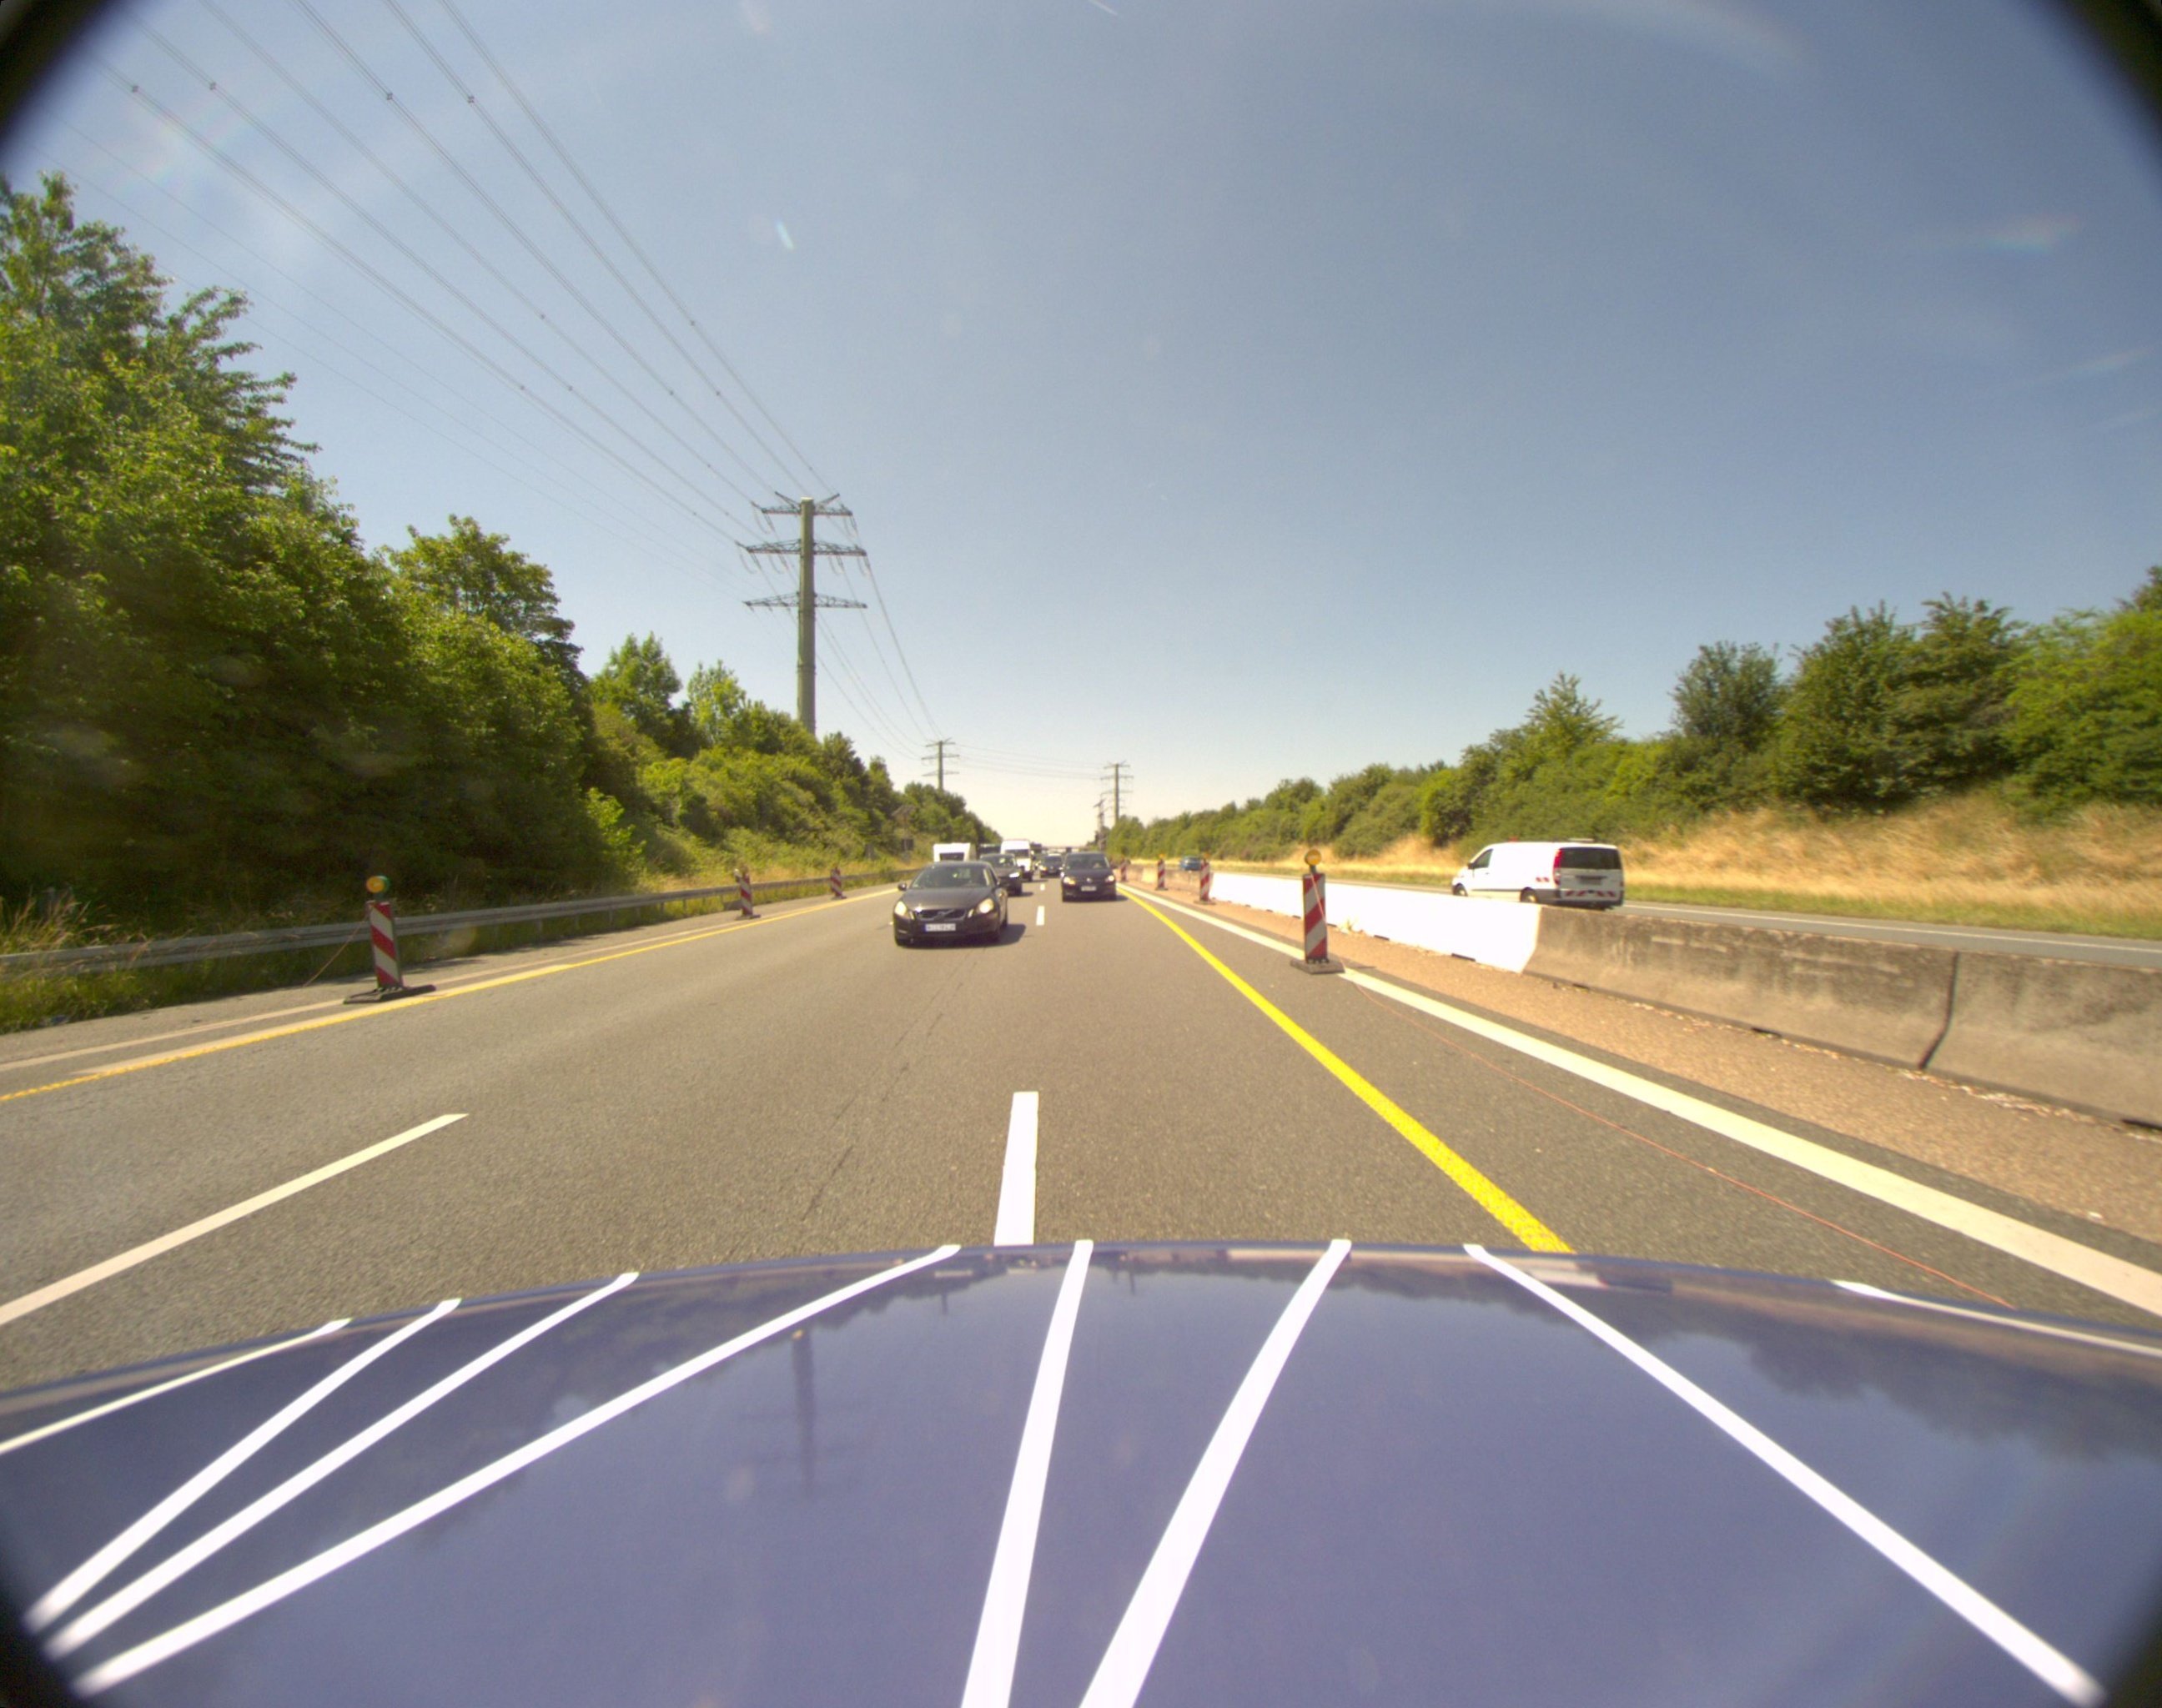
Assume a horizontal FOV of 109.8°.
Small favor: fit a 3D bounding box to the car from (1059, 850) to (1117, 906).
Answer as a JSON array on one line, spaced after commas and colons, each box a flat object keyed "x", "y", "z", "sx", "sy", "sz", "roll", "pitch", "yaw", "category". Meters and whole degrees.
[{"x": 0.227, "y": 0.715, "z": 25.679, "sx": 1.675, "sy": 1.619, "sz": 4.690, "roll": -3, "pitch": 0, "yaw": 0, "category": "car"}]

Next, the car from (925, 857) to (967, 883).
[{"x": -7.875, "y": 0.927, "z": 44.586, "sx": 1.801, "sy": 1.399, "sz": 4.209, "roll": -1, "pitch": 0, "yaw": -1, "category": "car"}]

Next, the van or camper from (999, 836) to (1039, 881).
[{"x": -3.686, "y": 0.231, "z": 46.395, "sx": 1.999, "sy": 2.604, "sz": 5.628, "roll": 0, "pitch": 0, "yaw": 0, "category": "van or camper"}]

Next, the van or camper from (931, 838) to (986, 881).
[{"x": -8.062, "y": 0.314, "z": 50.935, "sx": 2.432, "sy": 2.549, "sz": 8.415, "roll": -2, "pitch": 0, "yaw": -1, "category": "van or camper"}]

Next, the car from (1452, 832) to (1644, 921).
[{"x": 12.162, "y": 0.506, "z": 20.290, "sx": 1.968, "sy": 2.073, "sz": 4.937, "roll": 0, "pitch": 1, "yaw": -2, "category": "car"}]

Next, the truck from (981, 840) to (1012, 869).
[{"x": -9.767, "y": 0.027, "z": 88.492, "sx": 2.431, "sy": 3.122, "sz": 7.647, "roll": -4, "pitch": 0, "yaw": 0, "category": "truck"}]

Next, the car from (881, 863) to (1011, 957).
[{"x": -2.391, "y": 0.937, "z": 14.457, "sx": 1.799, "sy": 1.433, "sz": 3.999, "roll": -2, "pitch": 0, "yaw": -1, "category": "car"}]

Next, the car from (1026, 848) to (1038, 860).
[{"x": -7.125, "y": 0.027, "z": 110.585, "sx": 1.745, "sy": 1.658, "sz": 4.156, "roll": -1, "pitch": 0, "yaw": -3, "category": "car"}]

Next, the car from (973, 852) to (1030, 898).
[{"x": -3.084, "y": 0.773, "z": 30.091, "sx": 1.745, "sy": 1.658, "sz": 4.157, "roll": -1, "pitch": 0, "yaw": 0, "category": "car"}]

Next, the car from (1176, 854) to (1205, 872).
[{"x": 10.069, "y": 0.816, "z": 70.135, "sx": 1.895, "sy": 1.508, "sz": 3.478, "roll": -1, "pitch": 0, "yaw": -4, "category": "car"}]

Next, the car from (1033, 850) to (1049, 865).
[{"x": -4.691, "y": 0.429, "z": 89.425, "sx": 1.745, "sy": 1.658, "sz": 4.156, "roll": -1, "pitch": 0, "yaw": -3, "category": "car"}]

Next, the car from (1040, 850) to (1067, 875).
[{"x": -1.950, "y": 0.590, "z": 53.314, "sx": 1.745, "sy": 1.658, "sz": 4.156, "roll": -1, "pitch": 0, "yaw": -3, "category": "car"}]

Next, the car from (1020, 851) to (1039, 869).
[{"x": -5.077, "y": 0.556, "z": 75.292, "sx": 1.745, "sy": 1.658, "sz": 4.156, "roll": -1, "pitch": 0, "yaw": -3, "category": "car"}]
